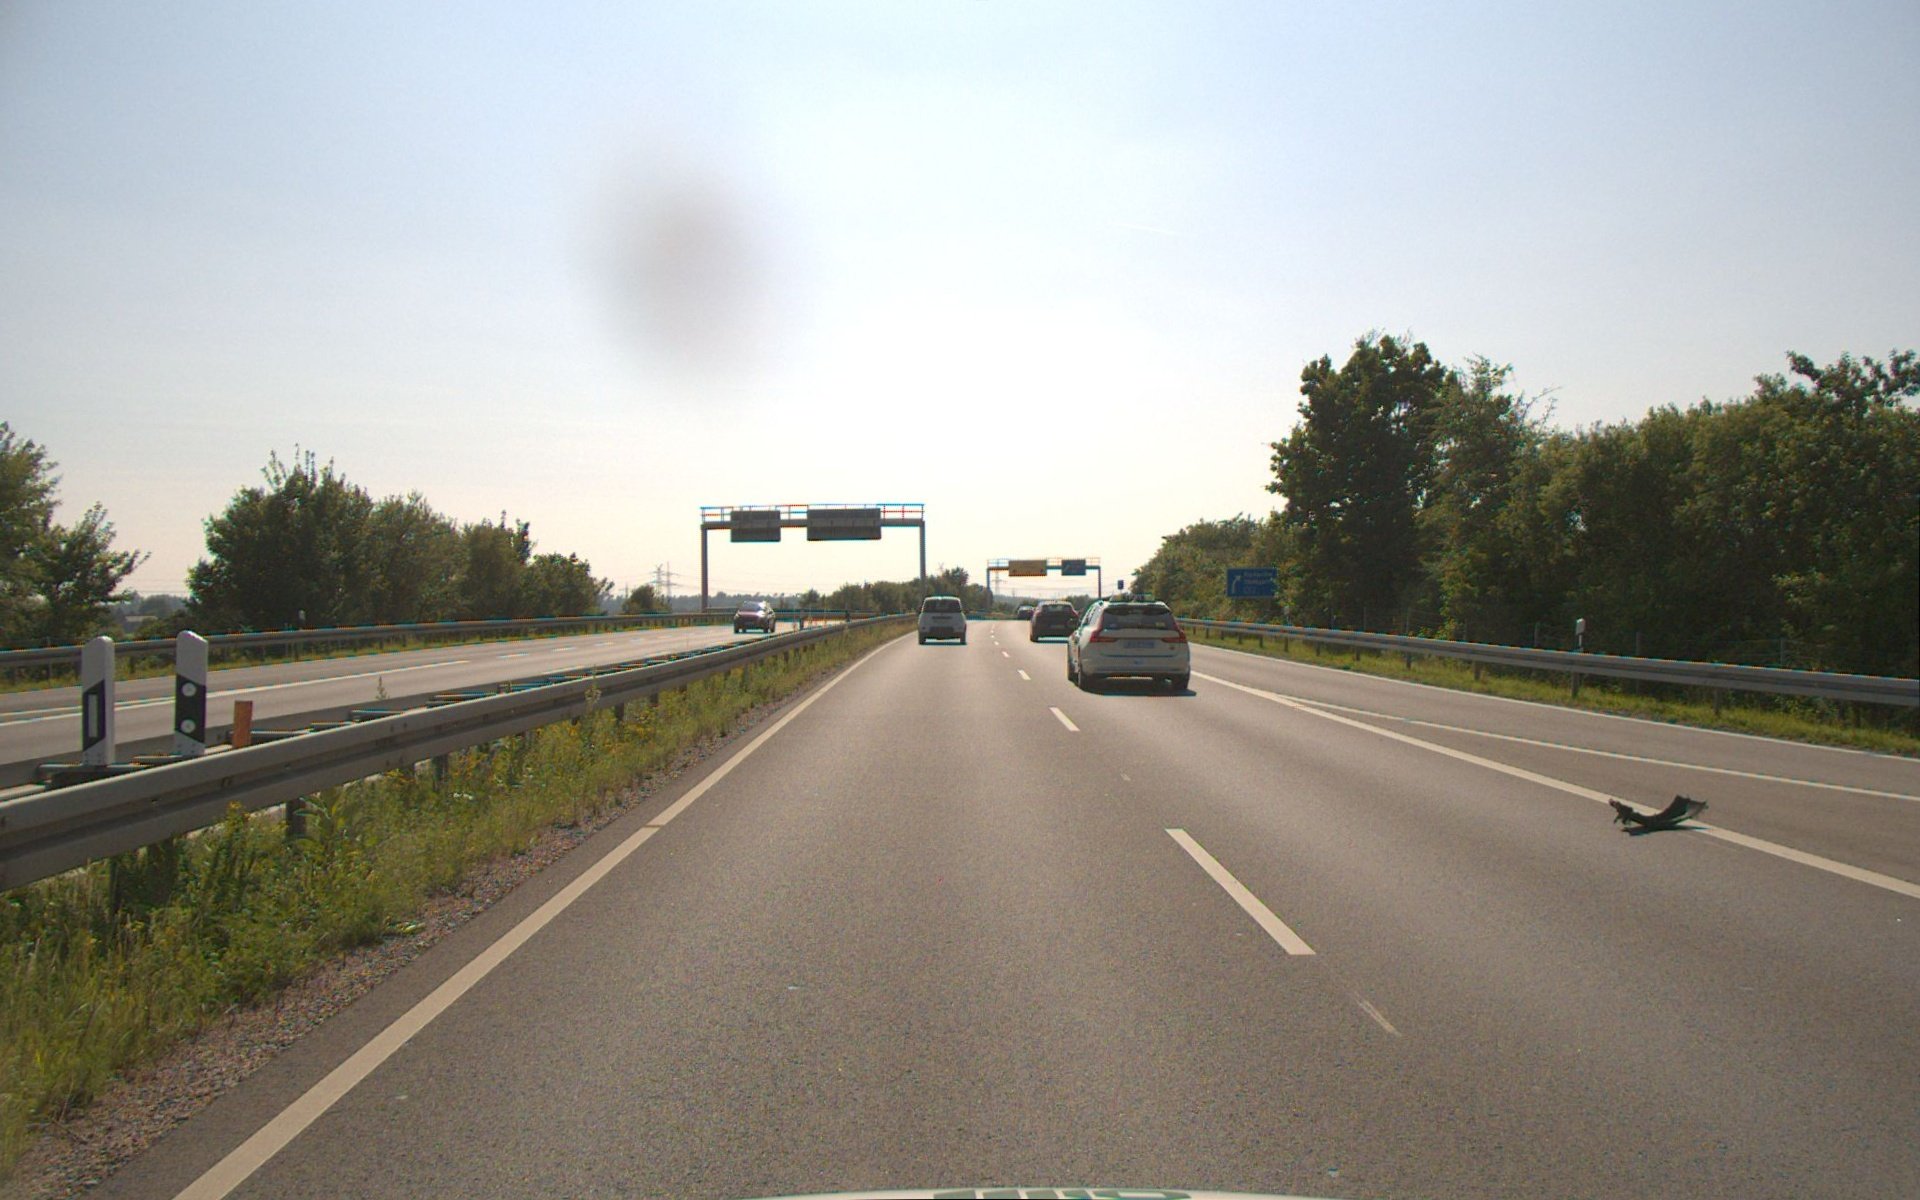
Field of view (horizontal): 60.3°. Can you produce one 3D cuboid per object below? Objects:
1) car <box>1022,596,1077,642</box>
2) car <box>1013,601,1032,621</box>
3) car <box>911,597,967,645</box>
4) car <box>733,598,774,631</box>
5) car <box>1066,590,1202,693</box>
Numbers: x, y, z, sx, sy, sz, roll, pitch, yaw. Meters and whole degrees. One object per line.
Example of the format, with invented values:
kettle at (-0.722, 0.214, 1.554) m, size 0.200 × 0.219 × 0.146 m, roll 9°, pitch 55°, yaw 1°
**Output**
car at (3.185, 0.704, 59.671) m, size 1.756 × 1.570 × 3.671 m, roll 1°, pitch -1°, yaw 0°
car at (6.594, 1.140, 175.837) m, size 1.952 × 2.049 × 4.001 m, roll 1°, pitch 0°, yaw 1°
car at (-0.685, 0.725, 56.205) m, size 1.756 × 1.529 × 4.043 m, roll -2°, pitch -1°, yaw 0°
car at (-10.426, 0.711, 83.633) m, size 1.609 × 1.602 × 4.263 m, roll 1°, pitch 0°, yaw -1°
car at (2.946, 0.676, 28.806) m, size 1.918 × 1.629 × 4.107 m, roll 1°, pitch 0°, yaw 0°
